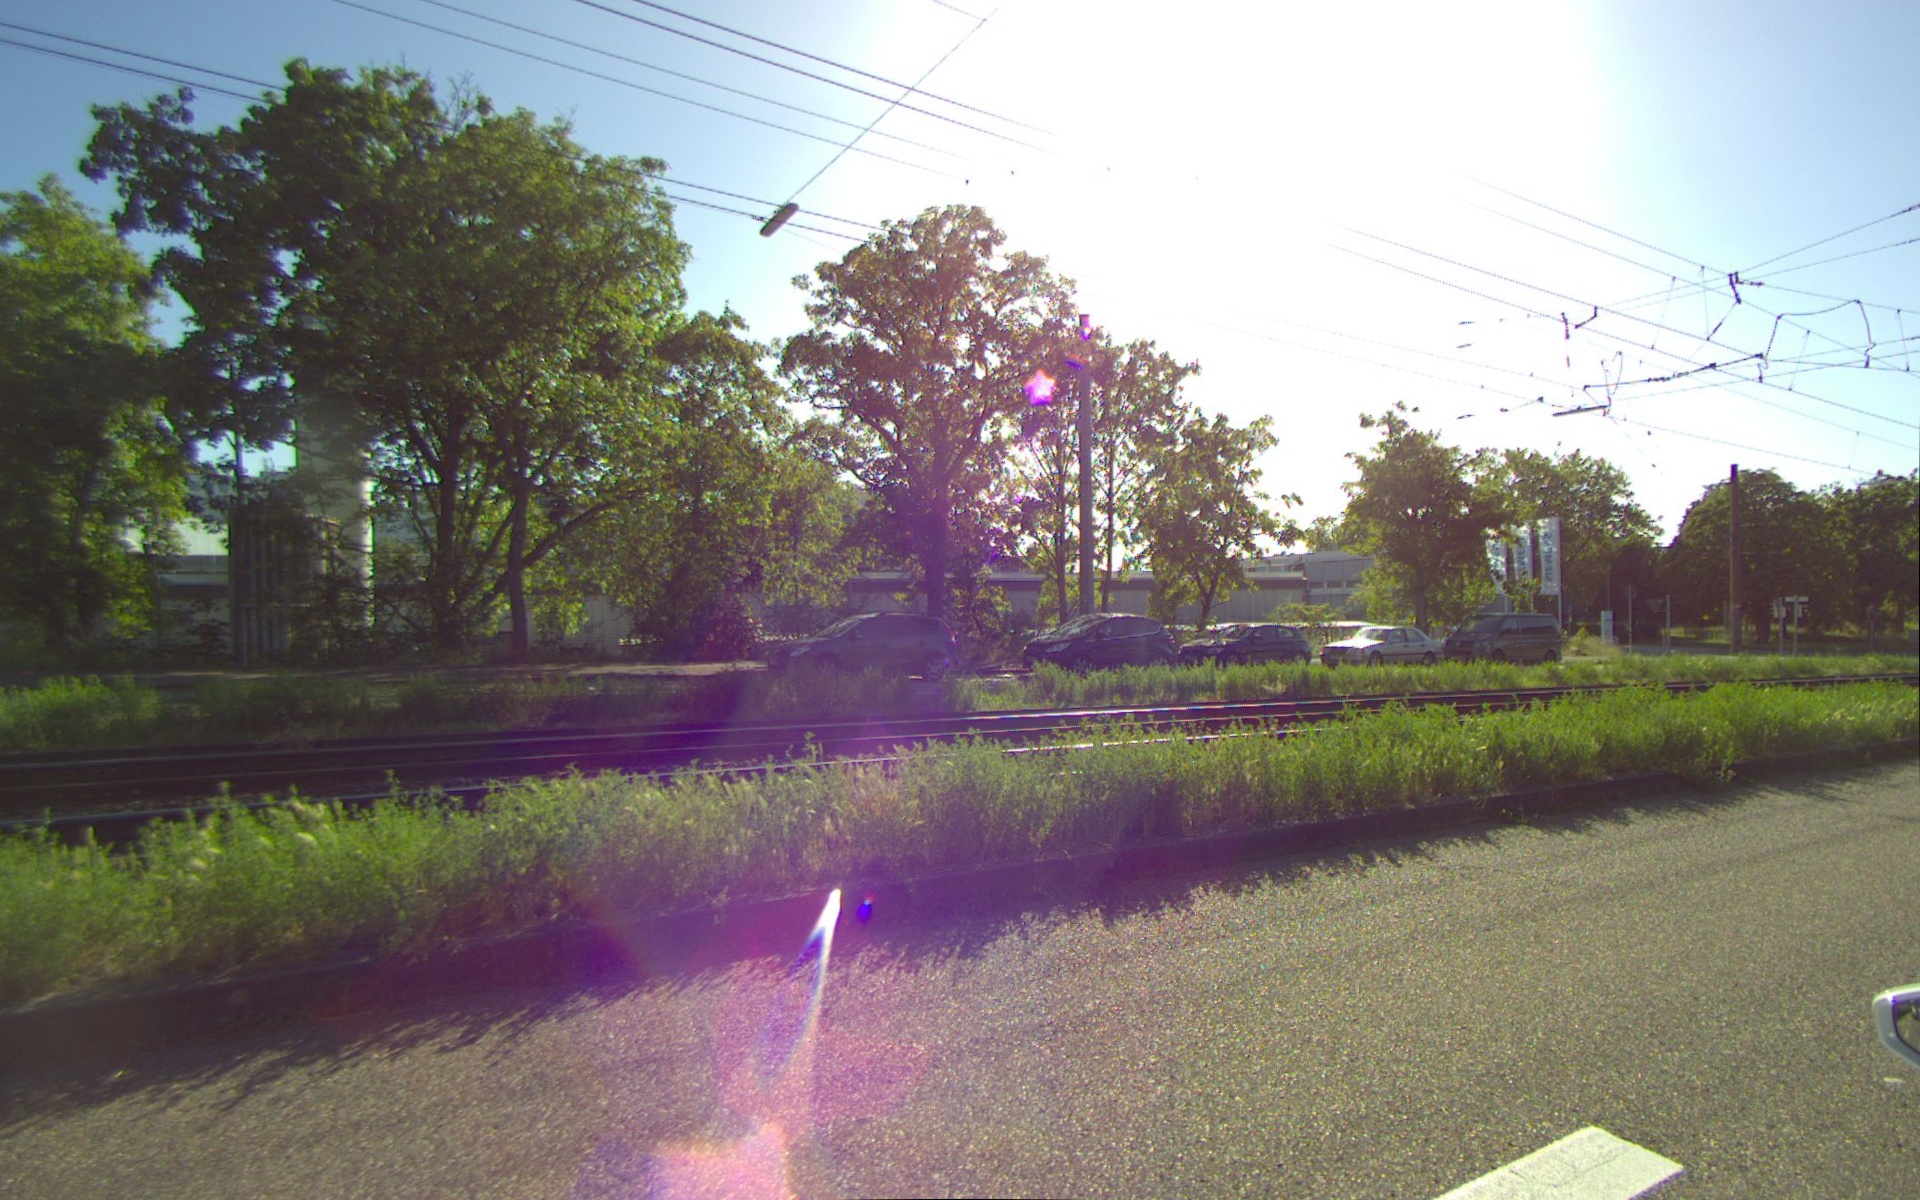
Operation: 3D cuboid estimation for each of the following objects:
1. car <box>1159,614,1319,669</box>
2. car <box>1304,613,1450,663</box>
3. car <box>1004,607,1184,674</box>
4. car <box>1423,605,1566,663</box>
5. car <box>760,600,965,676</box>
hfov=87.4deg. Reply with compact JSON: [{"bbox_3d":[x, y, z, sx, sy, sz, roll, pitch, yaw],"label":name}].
[{"bbox_3d":[8.036,1.151,28.886,4.363,1.457,1.984,1,0,-31],"label":"car"},{"bbox_3d":[13.391,1.190,32.185,4.640,1.457,1.919,1,0,-31],"label":"car"},{"bbox_3d":[3.501,1.002,25.994,4.386,1.595,1.982,1,0,-32],"label":"car"},{"bbox_3d":[18.831,1.169,35.358,4.732,1.916,2.188,1,0,-29],"label":"car"},{"bbox_3d":[-2.157,0.844,22.650,4.281,1.514,1.725,2,1,-33],"label":"car"}]
